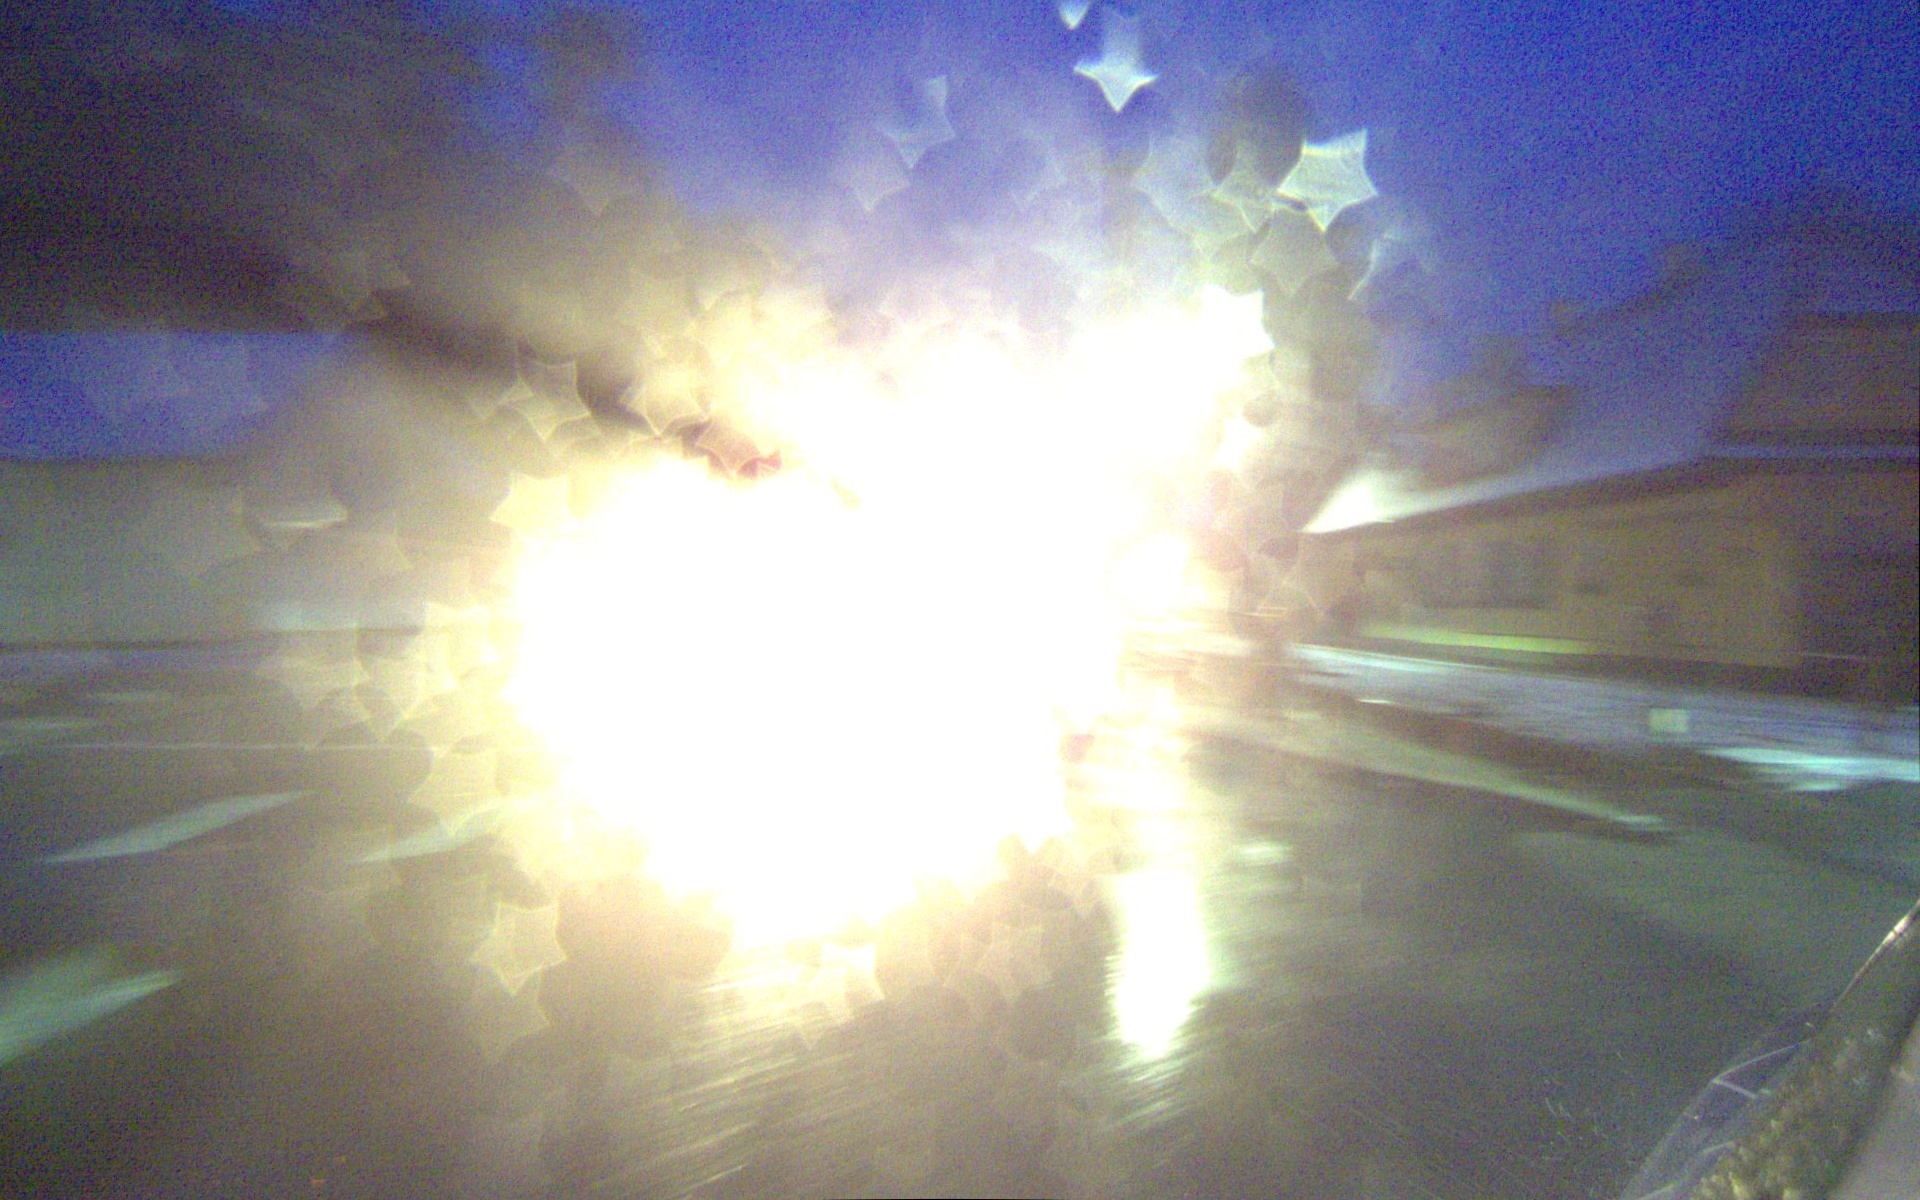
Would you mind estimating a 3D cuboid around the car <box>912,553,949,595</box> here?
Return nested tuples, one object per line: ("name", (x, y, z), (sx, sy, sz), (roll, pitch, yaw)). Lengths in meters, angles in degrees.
("car", (-1.431, -1.260, 50.193), (1.743, 1.972, 4.255), (1, 0, -1))

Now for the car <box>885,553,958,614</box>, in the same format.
("car", (-1.099, -0.523, 28.210), (1.878, 1.529, 4.245), (1, 2, -3))

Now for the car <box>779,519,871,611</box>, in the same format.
("car", (-3.876, -0.919, 29.930), (2.133, 2.473, 4.860), (-1, -1, -1))

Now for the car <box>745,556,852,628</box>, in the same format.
("car", (-3.710, -0.149, 23.896), (1.942, 1.536, 4.206), (-1, -1, -1))

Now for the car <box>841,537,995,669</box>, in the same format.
("car", (-0.618, 0.026, 15.827), (2.025, 1.699, 4.140), (2, 0, -1))
